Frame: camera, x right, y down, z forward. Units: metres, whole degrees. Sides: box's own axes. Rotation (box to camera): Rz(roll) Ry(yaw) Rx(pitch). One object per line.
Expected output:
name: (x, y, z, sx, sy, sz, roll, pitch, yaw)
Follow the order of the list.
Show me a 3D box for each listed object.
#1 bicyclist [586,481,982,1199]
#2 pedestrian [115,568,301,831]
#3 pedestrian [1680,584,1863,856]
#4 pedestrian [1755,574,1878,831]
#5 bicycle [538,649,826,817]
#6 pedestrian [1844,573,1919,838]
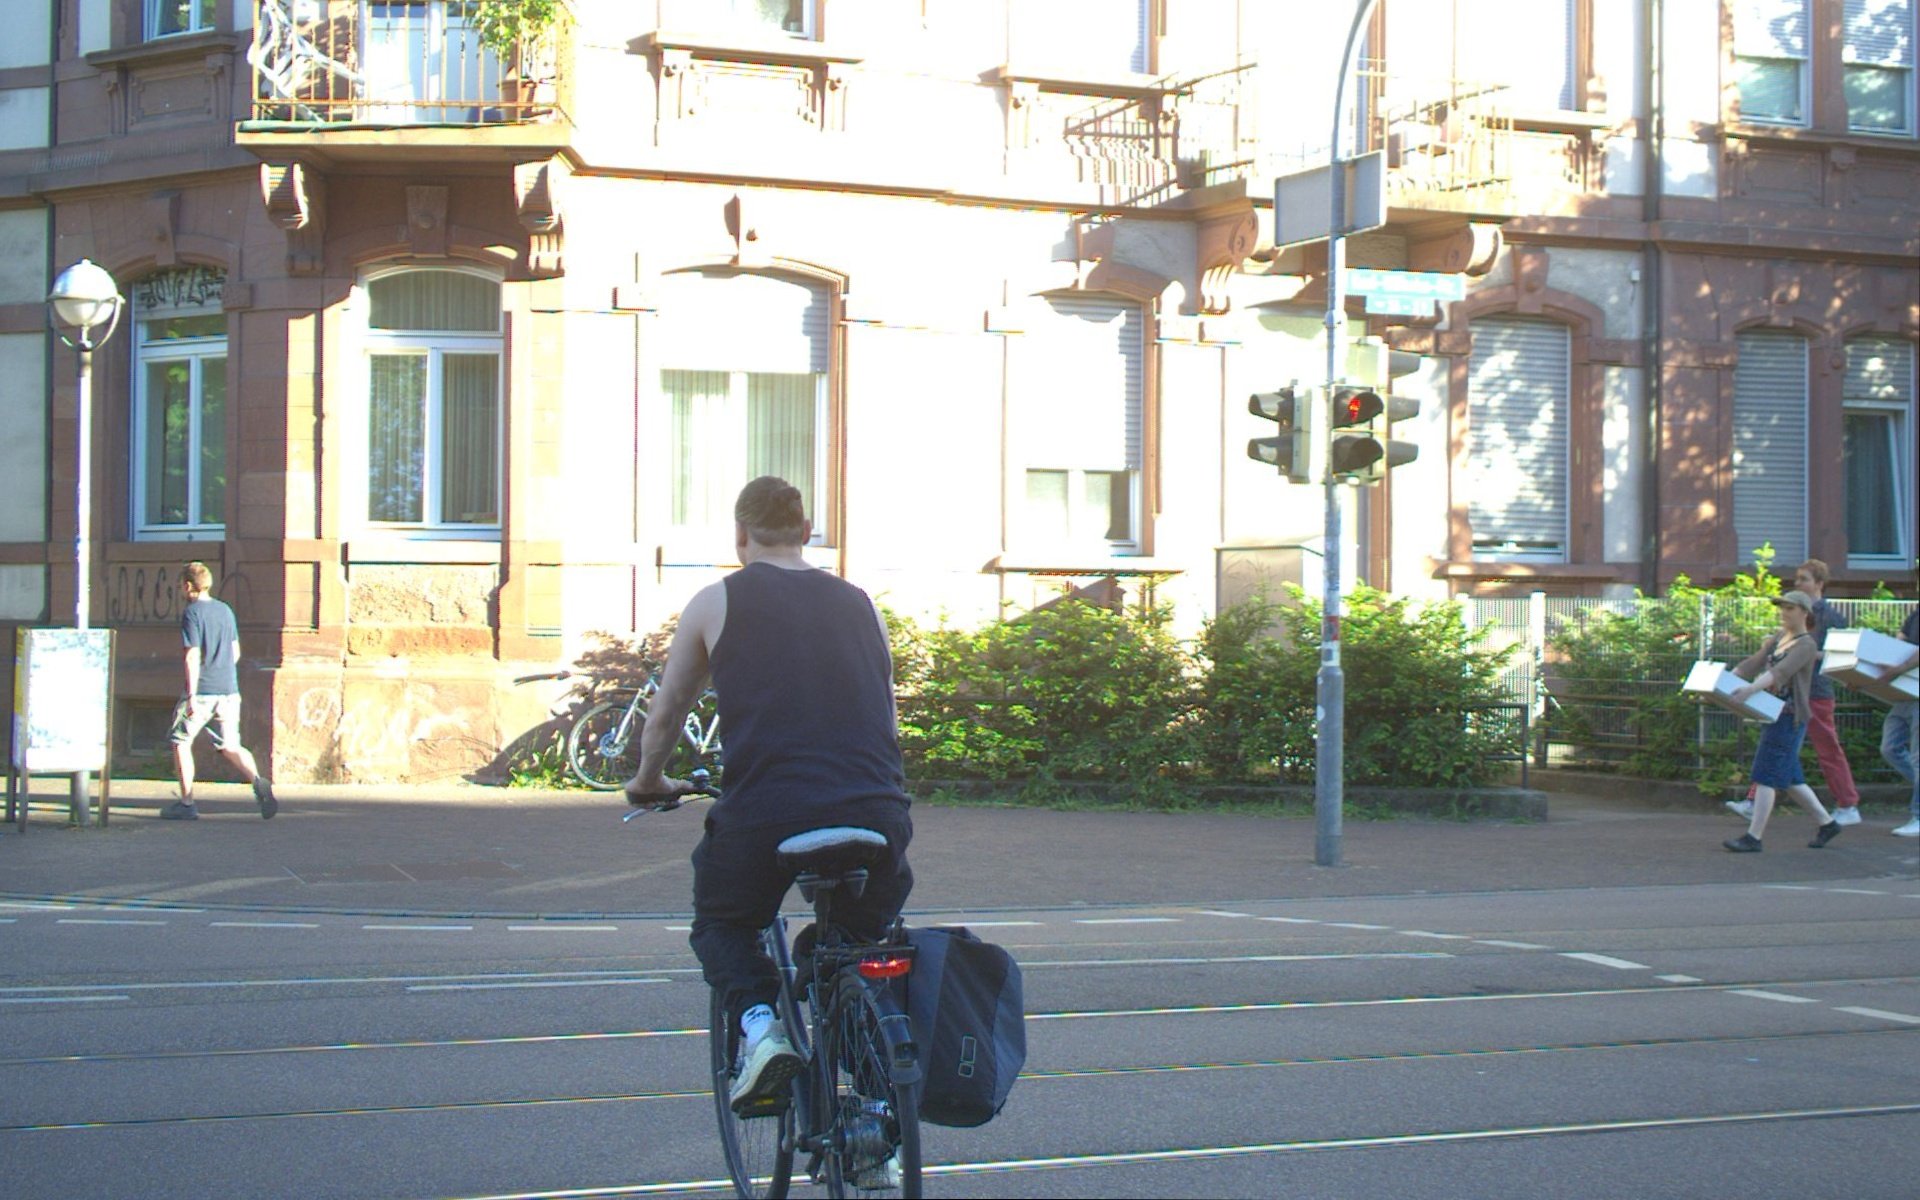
bicyclist: (-0.414, 0.587, 7.645, 0.686, 1.650, 0.990, -1, -1, -14)
pedestrian: (-4.850, 0.623, 22.171, 0.903, 1.629, 0.724, 2, 1, 34)
pedestrian: (5.103, 0.746, 21.653, 0.895, 1.659, 0.712, 0, 2, -8)
pedestrian: (5.766, 0.684, 23.154, 0.634, 1.709, 0.521, 0, -1, -12)
bicycle: (-1.967, 0.932, 24.362, 1.961, 1.103, 0.443, 2, 0, 9)
pedestrian: (6.236, 0.683, 22.518, 0.634, 1.709, 0.664, 0, -1, -12)
